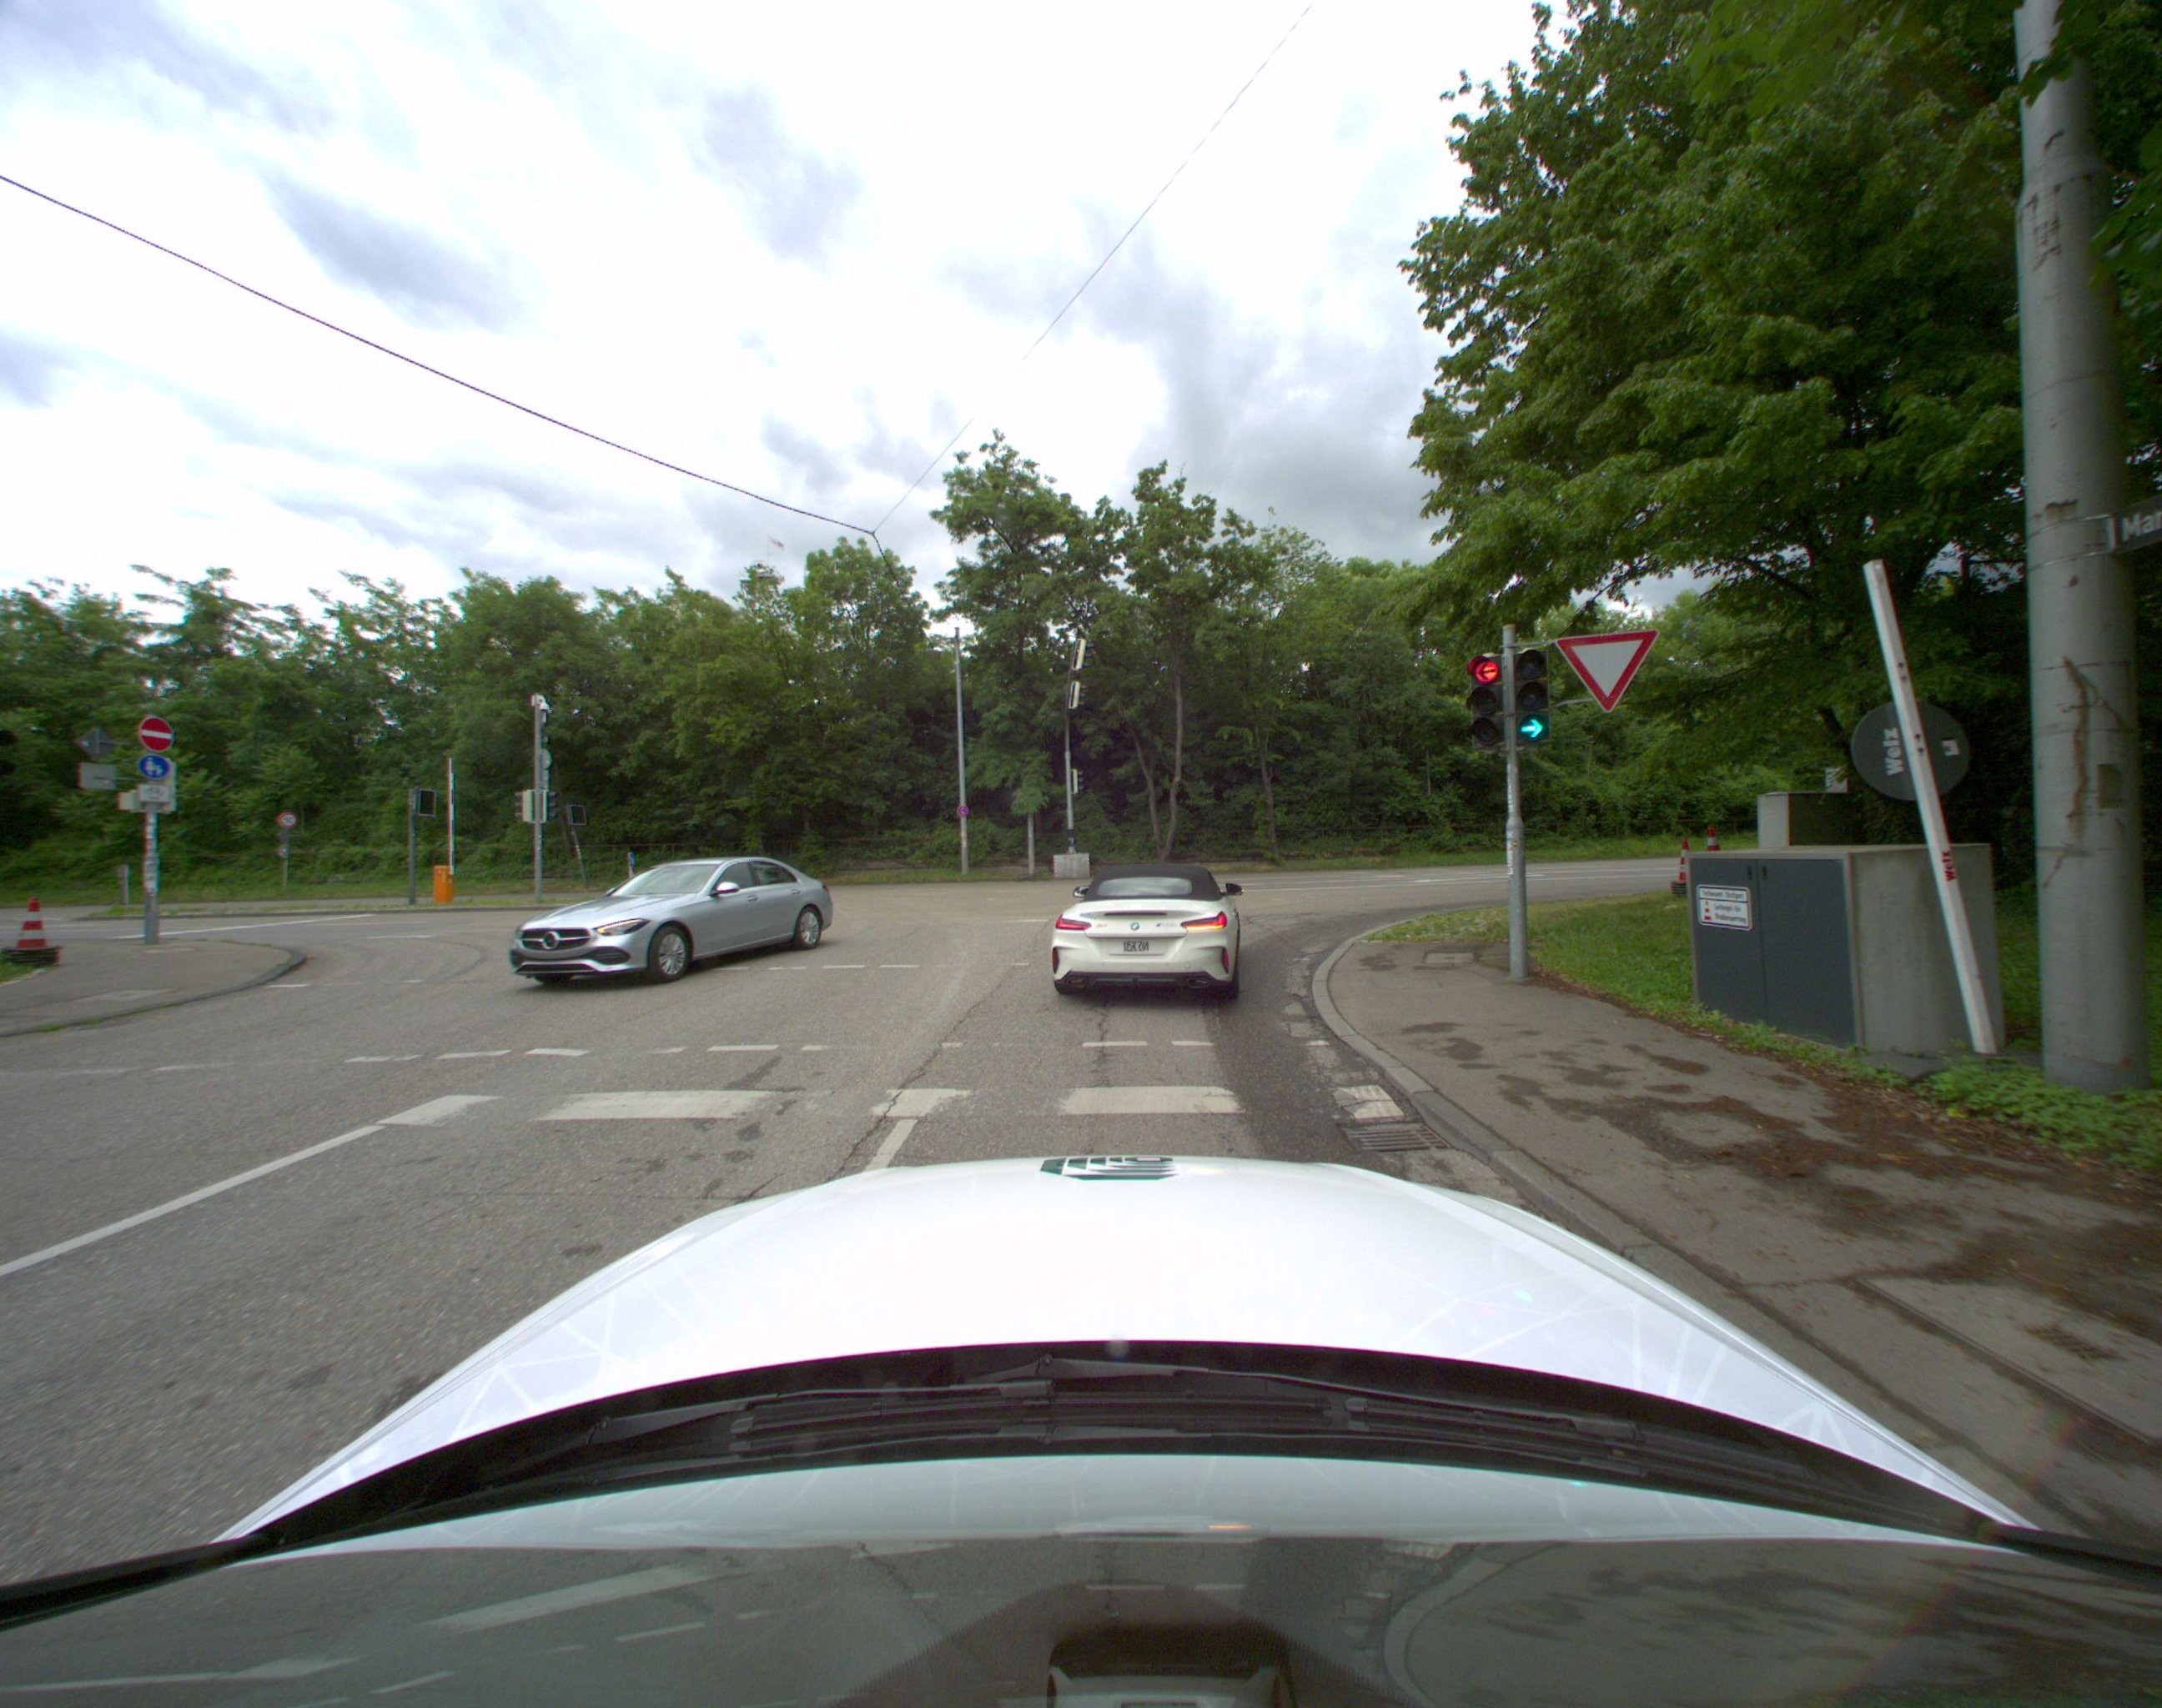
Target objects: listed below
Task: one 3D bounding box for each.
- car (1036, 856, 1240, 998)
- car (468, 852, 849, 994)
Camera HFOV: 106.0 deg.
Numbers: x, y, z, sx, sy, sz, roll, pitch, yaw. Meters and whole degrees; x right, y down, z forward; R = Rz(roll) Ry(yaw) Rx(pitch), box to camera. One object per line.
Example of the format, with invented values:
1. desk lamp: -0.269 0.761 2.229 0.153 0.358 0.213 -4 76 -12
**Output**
1. car: 0.755 0.721 9.322 1.818 1.257 4.007 -1 -2 7
2. car: -5.276 0.738 11.128 1.814 1.333 4.787 -1 2 15
